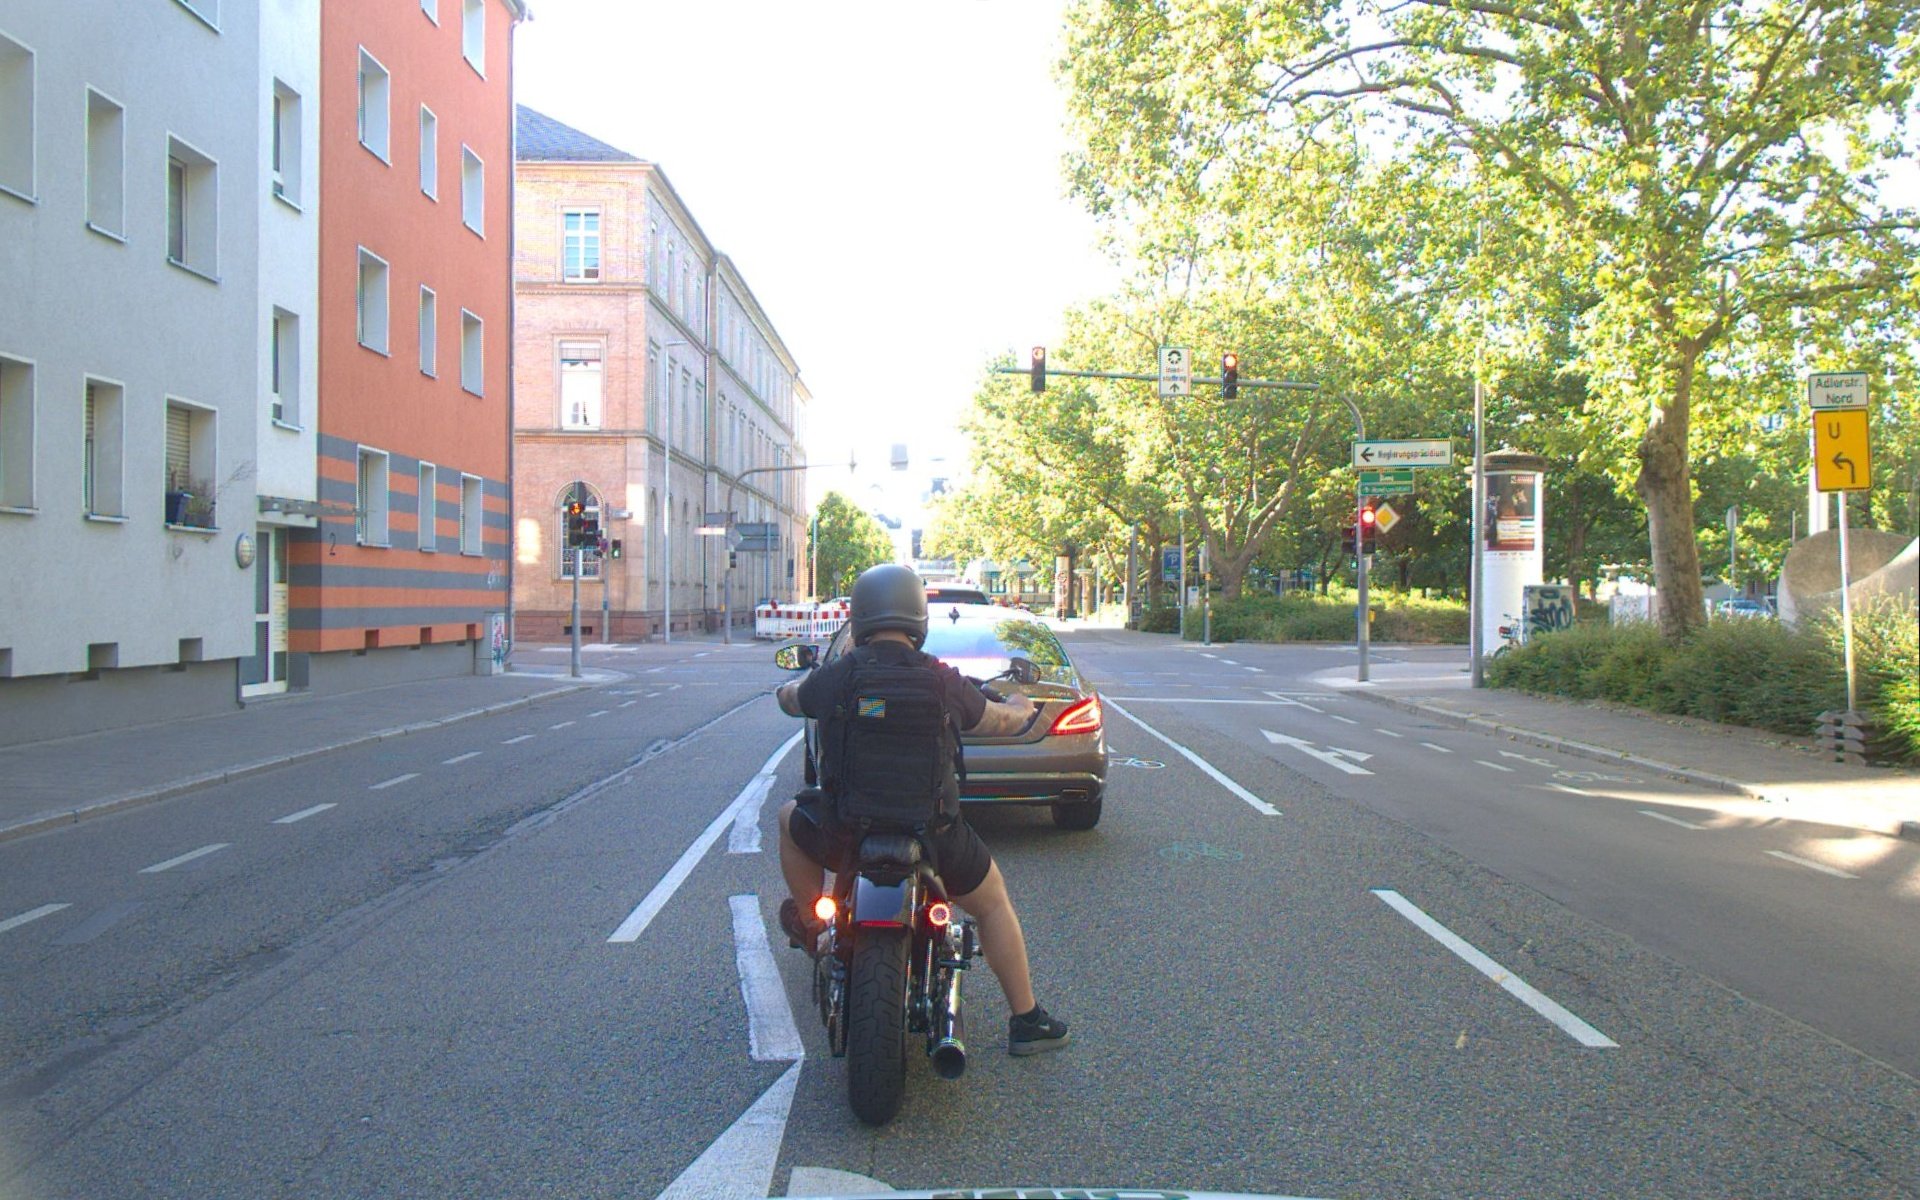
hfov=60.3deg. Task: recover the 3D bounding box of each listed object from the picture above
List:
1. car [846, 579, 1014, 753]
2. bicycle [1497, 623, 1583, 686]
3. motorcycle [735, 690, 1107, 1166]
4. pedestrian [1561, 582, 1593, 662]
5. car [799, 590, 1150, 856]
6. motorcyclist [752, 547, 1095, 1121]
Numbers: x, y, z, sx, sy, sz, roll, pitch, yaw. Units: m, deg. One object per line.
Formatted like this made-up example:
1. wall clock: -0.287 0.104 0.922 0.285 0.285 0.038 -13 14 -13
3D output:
1. car: -0.337 0.616 17.754 1.580 1.636 4.327 0 0 -2
2. bicycle: 9.737 0.918 27.789 1.324 1.041 0.363 0 0 0
3. motorcycle: -0.118 0.923 5.551 0.969 1.097 2.451 0 0 -1
4. pedestrian: 14.504 0.511 38.901 0.540 1.881 0.593 0 0 0
5. car: -0.114 0.681 11.591 1.909 1.498 4.355 0 0 -7
6. motorcyclist: -0.114 0.660 5.396 0.969 1.625 1.403 0 0 -1
